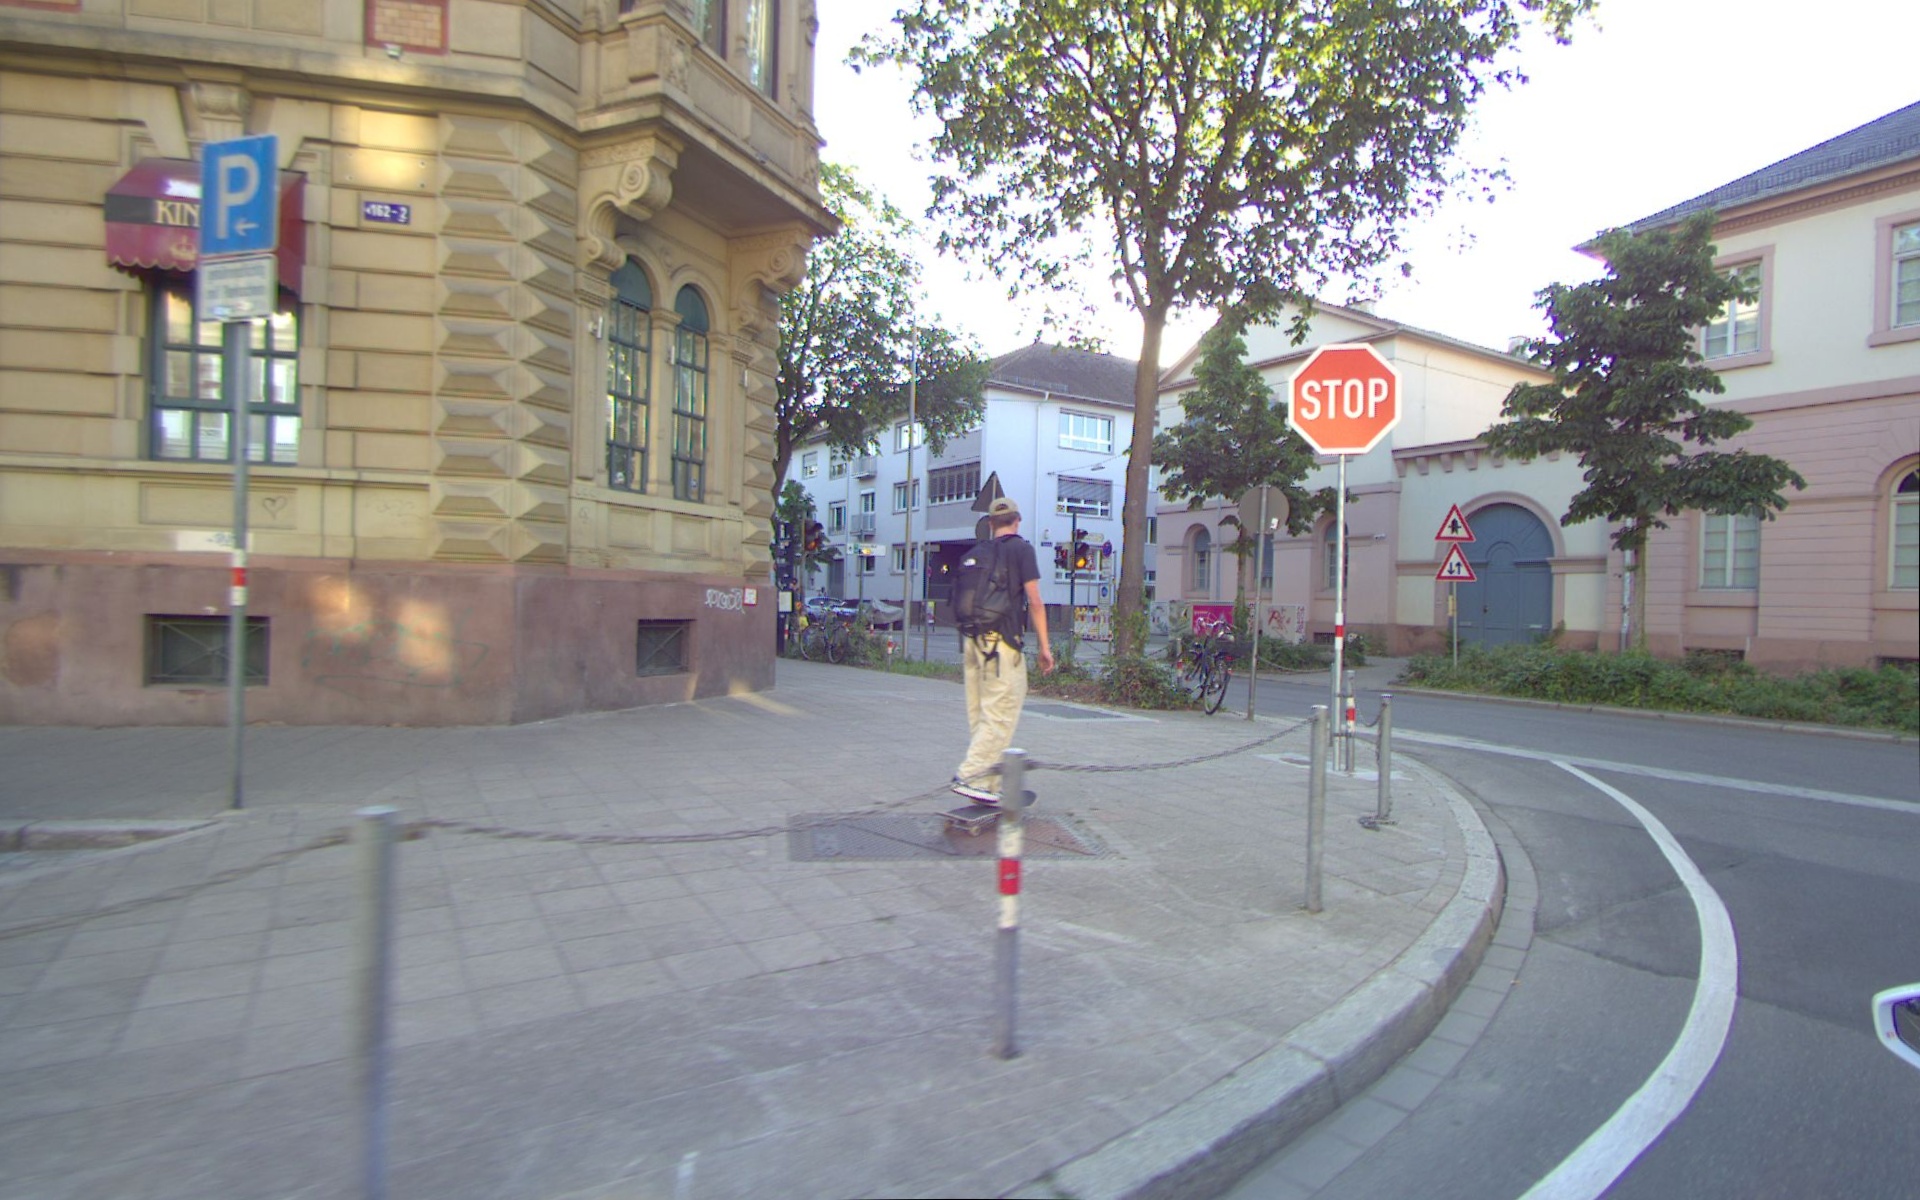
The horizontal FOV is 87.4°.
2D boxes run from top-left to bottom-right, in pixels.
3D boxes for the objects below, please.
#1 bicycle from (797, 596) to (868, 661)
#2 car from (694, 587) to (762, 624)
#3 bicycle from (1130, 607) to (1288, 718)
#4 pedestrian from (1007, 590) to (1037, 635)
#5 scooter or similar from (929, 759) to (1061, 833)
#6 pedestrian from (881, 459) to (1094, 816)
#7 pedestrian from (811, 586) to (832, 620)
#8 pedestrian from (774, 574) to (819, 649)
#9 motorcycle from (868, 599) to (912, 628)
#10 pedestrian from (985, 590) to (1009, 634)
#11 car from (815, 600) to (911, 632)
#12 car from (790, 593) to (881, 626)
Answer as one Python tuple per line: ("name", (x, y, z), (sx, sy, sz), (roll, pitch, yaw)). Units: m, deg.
("bicycle", (-2.506, 0.528, 19.484), (0.506, 1.168, 2.083), (4, -1, -31))
("car", (-10.832, 0.230, 46.714), (1.811, 1.582, 3.992), (3, -1, -32))
("bicycle", (3.192, 0.753, 13.232), (0.832, 1.284, 2.563), (1, 0, -16))
("pedestrian", (2.521, 0.514, 40.836), (0.921, 1.775, 0.766), (2, 0, -27))
("scooter or similar", (0.215, 1.066, 5.548), (0.410, 0.210, 0.881), (3, 1, 25))
("pedestrian", (0.202, 0.151, 5.677), (0.834, 1.762, 1.266), (3, 3, 18))
("pedestrian", (-7.646, 0.165, 55.490), (0.760, 1.865, 0.936), (2, 0, -31))
("pedestrian", (-4.096, 0.287, 25.112), (0.879, 1.840, 0.788), (1, 0, -26))
("motorcycle", (-2.969, 0.567, 42.736), (1.780, 1.215, 0.609), (1, 0, -23))
("pedestrian", (1.506, 0.489, 41.041), (0.697, 1.775, 0.694), (2, 0, -27))
("car", (-4.374, 0.736, 45.519), (3.981, 1.360, 1.692), (1, 0, -31))
("car", (-5.893, 0.469, 47.664), (3.982, 1.461, 1.692), (1, 0, -32))
